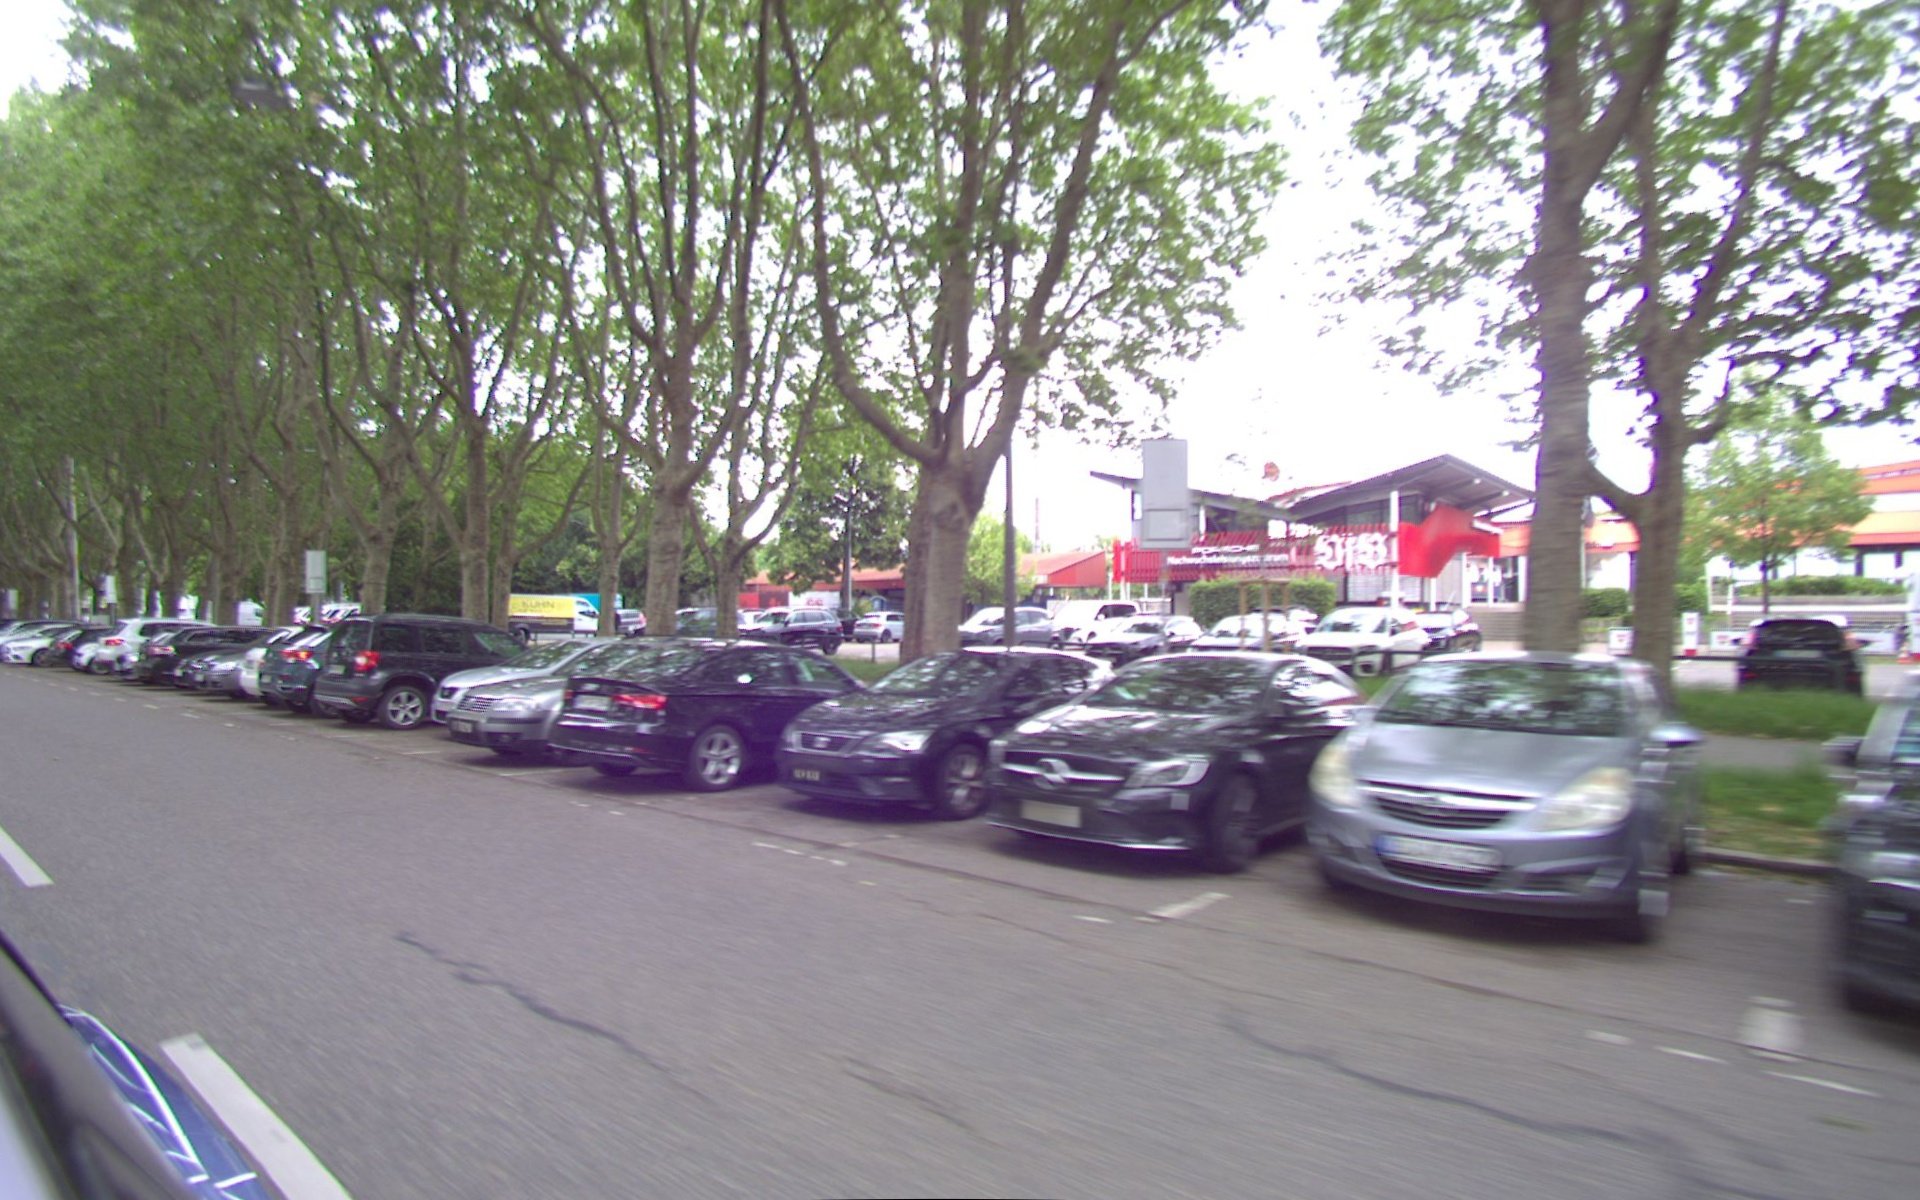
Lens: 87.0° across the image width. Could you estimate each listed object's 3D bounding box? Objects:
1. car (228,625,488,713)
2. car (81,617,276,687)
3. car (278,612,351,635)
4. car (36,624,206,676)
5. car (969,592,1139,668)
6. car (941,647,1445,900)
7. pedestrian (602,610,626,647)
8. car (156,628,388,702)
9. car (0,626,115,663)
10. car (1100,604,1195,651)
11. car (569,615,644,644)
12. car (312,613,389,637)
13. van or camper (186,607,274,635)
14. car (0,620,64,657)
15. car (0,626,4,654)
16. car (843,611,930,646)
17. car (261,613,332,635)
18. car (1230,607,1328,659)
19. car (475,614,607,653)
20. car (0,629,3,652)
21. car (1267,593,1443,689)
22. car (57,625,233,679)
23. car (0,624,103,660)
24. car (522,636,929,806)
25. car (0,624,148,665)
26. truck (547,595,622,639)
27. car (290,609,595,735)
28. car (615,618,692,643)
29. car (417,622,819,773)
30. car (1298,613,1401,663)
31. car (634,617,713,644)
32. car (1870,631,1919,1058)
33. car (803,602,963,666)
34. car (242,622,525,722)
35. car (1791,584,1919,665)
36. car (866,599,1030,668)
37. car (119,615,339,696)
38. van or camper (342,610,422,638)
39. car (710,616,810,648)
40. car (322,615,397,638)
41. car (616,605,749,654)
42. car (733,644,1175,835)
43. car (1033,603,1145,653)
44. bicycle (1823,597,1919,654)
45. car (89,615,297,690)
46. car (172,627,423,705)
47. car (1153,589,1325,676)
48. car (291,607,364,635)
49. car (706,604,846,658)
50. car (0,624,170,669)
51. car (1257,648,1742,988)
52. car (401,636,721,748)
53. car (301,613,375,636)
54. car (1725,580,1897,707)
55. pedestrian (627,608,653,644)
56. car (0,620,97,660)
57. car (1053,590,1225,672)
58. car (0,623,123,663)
[{"bbox_3d":[-11.369,1.271,19.291,3.947,1.497,1.704,3,-4,-45],"label":"car"},{"bbox_3d":[-21.139,1.330,27.486,1.855,1.695,3.945,-1,0,41],"label":"car"},{"bbox_3d":[-62.257,2.297,97.703,2.390,2.036,5.399,-1,-3,38],"label":"car"},{"bbox_3d":[-26.600,1.543,32.167,1.855,1.464,3.945,-1,0,41],"label":"car"},{"bbox_3d":[2.578,0.717,26.616,2.180,1.810,4.894,-1,0,38],"label":"car"},{"bbox_3d":[2.051,1.064,7.829,1.901,1.358,4.415,-2,-3,42],"label":"car"},{"bbox_3d":[-17.437,1.427,51.035,0.917,1.814,0.808,-1,-1,41],"label":"pedestrian"},{"bbox_3d":[-15.235,1.378,22.582,1.842,1.379,3.948,-1,0,39],"label":"car"},{"bbox_3d":[-36.516,1.759,40.095,1.722,1.406,4.365,-1,-3,38],"label":"car"},{"bbox_3d":[7.052,0.970,37.835,1.997,1.637,3.950,-1,0,37],"label":"car"},{"bbox_3d":[-21.678,1.754,62.140,1.989,1.674,3.946,-1,0,41],"label":"car"},{"bbox_3d":[-54.509,2.239,90.621,2.473,2.013,5.399,-1,0,38],"label":"car"},{"bbox_3d":[-57.305,1.624,79.556,2.241,2.115,5.234,-1,0,38],"label":"van or camper"},{"bbox_3d":[-42.674,1.691,44.651,2.045,1.639,4.365,-1,-3,38],"label":"car"},{"bbox_3d":[-57.235,2.239,57.906,1.847,1.590,3.518,-2,-4,42],"label":"car"},{"bbox_3d":[-3.409,1.295,47.459,1.996,1.562,3.983,-1,0,36],"label":"car"},{"bbox_3d":[-65.699,2.338,100.303,2.390,2.036,5.399,-1,0,38],"label":"car"},{"bbox_3d":[10.887,1.065,34.360,1.997,1.637,3.950,-1,0,37],"label":"car"},{"bbox_3d":[-19.160,1.475,46.476,2.093,1.608,5.295,-1,0,39],"label":"car"},{"bbox_3d":[-62.920,2.460,63.145,2.090,1.445,4.515,-2,-4,42],"label":"car"},{"bbox_3d":[8.571,0.816,21.690,2.180,1.810,4.894,-1,-2,38],"label":"car"},{"bbox_3d":[-24.759,1.526,30.843,1.855,1.464,3.945,-1,0,41],"label":"car"},{"bbox_3d":[-38.252,1.717,41.519,2.044,1.406,4.366,-1,-3,37],"label":"car"},{"bbox_3d":[-2.232,1.105,10.498,1.701,1.409,3.891,-2,-3,39],"label":"car"},{"bbox_3d":[-32.567,1.630,36.894,1.783,1.428,4.360,-2,-3,42],"label":"car"},{"bbox_3d":[-24.478,1.068,66.067,2.374,2.737,3.947,-1,0,39],"label":"truck"},{"bbox_3d":[-8.021,1.087,15.987,1.750,1.721,3.891,-2,-3,39],"label":"car"},{"bbox_3d":[-18.057,1.787,59.644,1.899,1.407,3.946,-2,-1,41],"label":"car"},{"bbox_3d":[-3.934,1.075,12.350,1.701,1.493,4.419,-2,-3,39],"label":"car"},{"bbox_3d":[12.598,1.173,32.602,1.998,1.438,3.948,-1,0,39],"label":"car"},{"bbox_3d":[-16.248,1.745,57.555,1.899,1.407,3.946,-2,-1,41],"label":"car"},{"bbox_3d":[5.141,0.905,4.302,1.756,1.432,3.934,-2,-4,44],"label":"car"},{"bbox_3d":[-2.254,0.967,31.028,2.180,1.810,4.894,-1,0,38],"label":"car"},{"bbox_3d":[-9.862,1.192,17.526,1.728,1.528,3.888,-2,-3,42],"label":"car"},{"bbox_3d":[23.094,0.574,25.953,4.525,1.869,2.298,0,0,-44],"label":"car"},{"bbox_3d":[-0.247,0.918,29.119,2.180,1.810,4.894,-1,-2,38],"label":"car"},{"bbox_3d":[-17.289,1.234,24.066,1.855,1.695,3.945,-1,0,41],"label":"car"},{"bbox_3d":[-50.140,2.045,87.859,2.328,2.272,5.647,-1,0,40],"label":"van or camper"},{"bbox_3d":[-10.347,1.608,52.648,2.181,1.532,4.892,-1,0,39],"label":"car"},{"bbox_3d":[-52.690,2.295,88.881,1.997,1.864,5.399,-1,0,38],"label":"car"},{"bbox_3d":[-10.425,1.151,38.312,1.997,1.734,4.508,-1,-3,38],"label":"car"},{"bbox_3d":[0.199,1.152,9.689,1.858,1.377,4.419,-2,-4,39],"label":"car"},{"bbox_3d":[5.117,1.036,39.658,2.180,1.810,4.894,-1,0,38],"label":"car"},{"bbox_3d":[26.361,0.709,28.751,2.800,1.551,1.038,-1,0,41],"label":"bicycle"},{"bbox_3d":[-19.431,1.255,25.755,1.855,1.695,3.945,-1,0,41],"label":"car"},{"bbox_3d":[-13.437,1.319,20.728,1.701,1.431,3.953,-2,-3,39],"label":"car"},{"bbox_3d":[6.653,0.679,23.743,2.180,1.810,4.894,-1,0,38],"label":"car"},{"bbox_3d":[-59.830,1.943,95.792,2.390,2.536,5.399,-1,0,38],"label":"car"},{"bbox_3d":[-6.215,1.104,34.624,1.997,1.734,4.508,-1,-3,38],"label":"car"},{"bbox_3d":[-30.568,1.629,35.250,2.042,1.455,4.369,-1,-3,35],"label":"car"},{"bbox_3d":[3.724,1.019,6.515,1.878,1.380,4.417,-2,-3,40],"label":"car"},{"bbox_3d":[-5.590,1.230,14.576,1.825,1.375,3.891,-2,-3,39],"label":"car"},{"bbox_3d":[-57.769,2.278,94.053,2.390,2.036,5.399,-1,0,38],"label":"car"},{"bbox_3d":[14.450,0.651,17.292,2.026,1.875,4.277,-1,0,40],"label":"car"},{"bbox_3d":[-16.514,1.324,52.175,0.917,1.814,0.932,-1,-1,41],"label":"pedestrian"},{"bbox_3d":[-40.035,1.704,43.321,2.044,1.639,4.366,-1,-3,37],"label":"car"},{"bbox_3d":[4.568,0.698,25.202,2.180,1.810,4.894,-1,0,38],"label":"car"},{"bbox_3d":[-34.588,1.638,38.178,1.774,1.435,4.364,-2,-3,39],"label":"car"}]
